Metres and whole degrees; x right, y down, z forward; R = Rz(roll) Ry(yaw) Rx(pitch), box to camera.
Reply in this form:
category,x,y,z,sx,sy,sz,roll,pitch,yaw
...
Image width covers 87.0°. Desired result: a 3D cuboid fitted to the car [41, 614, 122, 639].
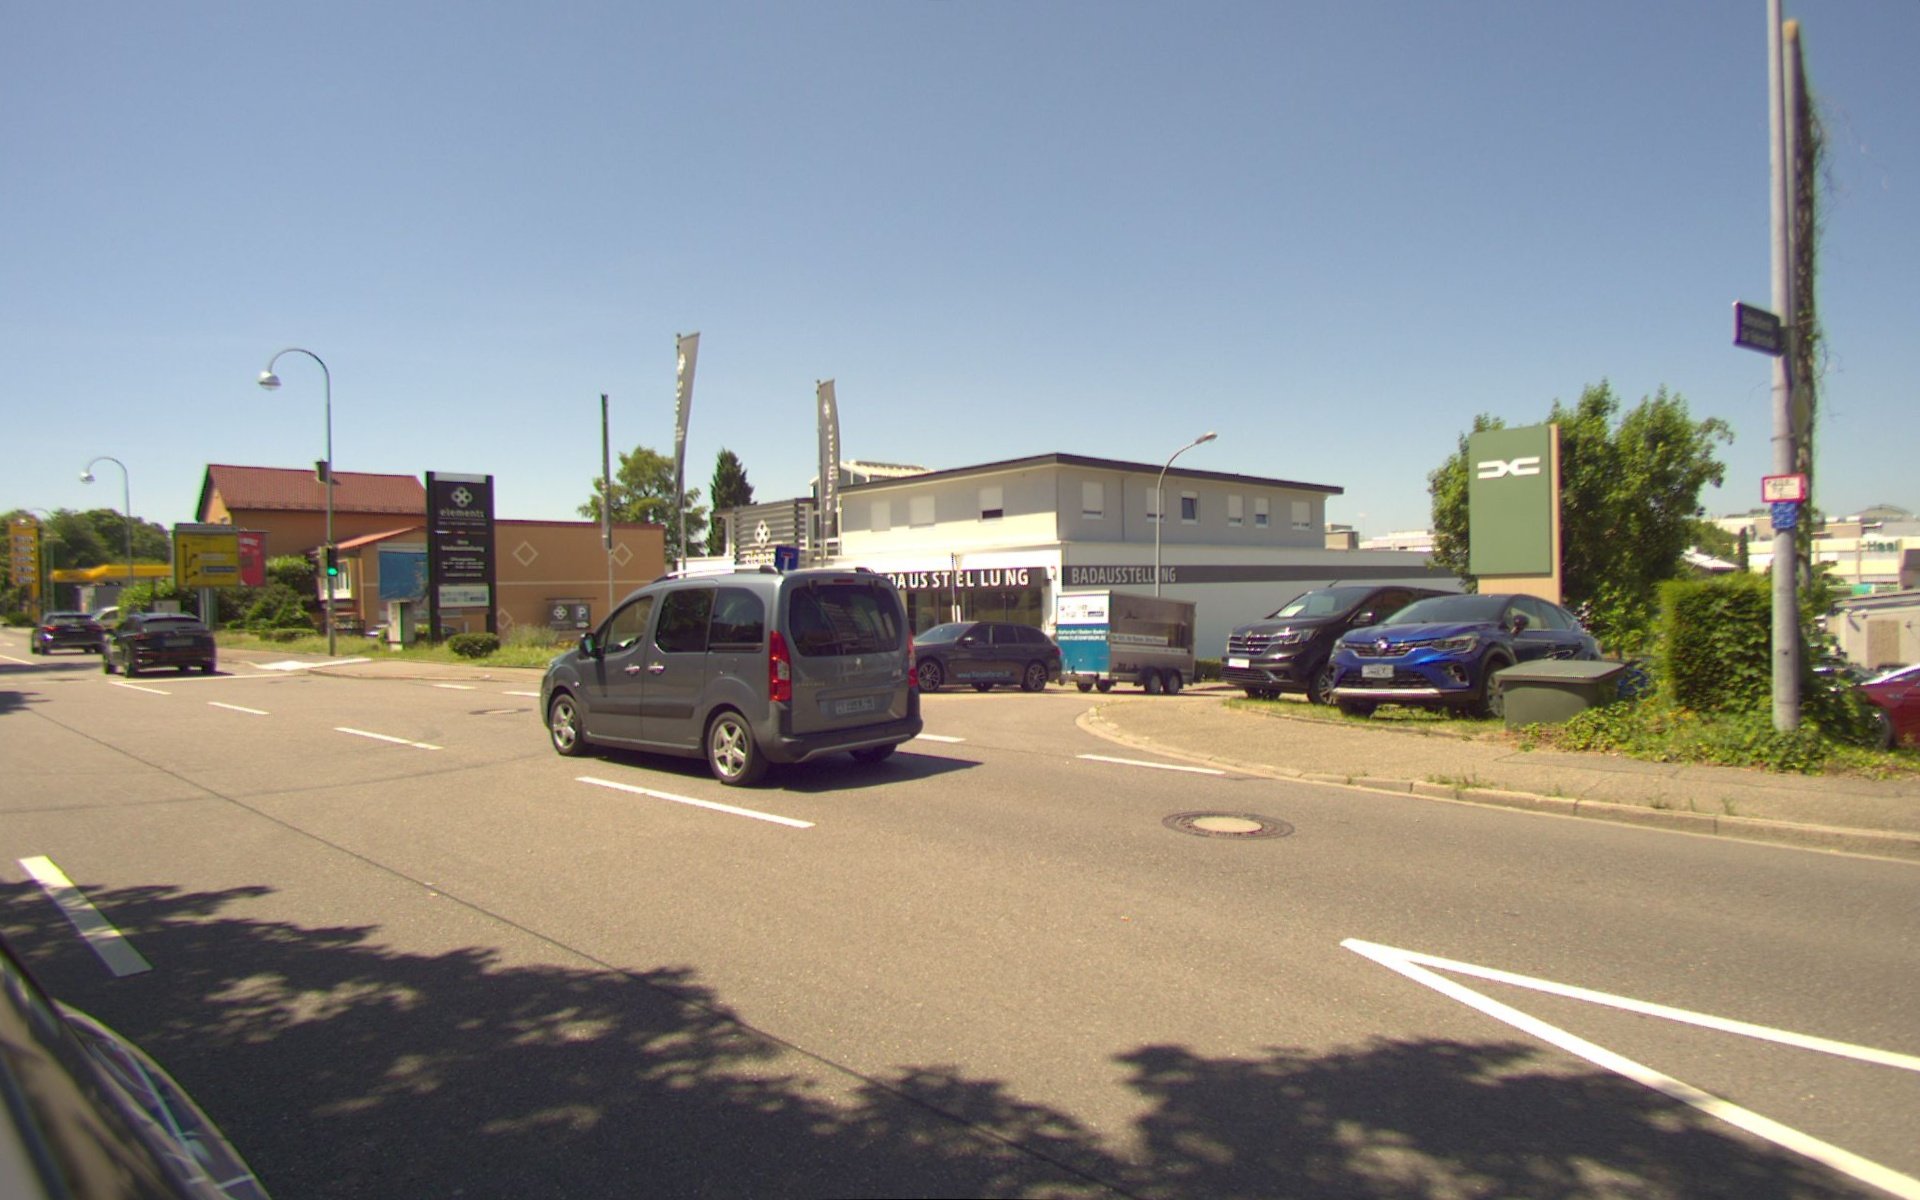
category,x,y,z,sx,sy,sz,roll,pitch,yaw
car,-66.310,2.004,76.424,1.872,1.773,4.348,-1,-1,37

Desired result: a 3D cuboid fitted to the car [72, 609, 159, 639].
category,x,y,z,sx,sy,sz,roll,pitch,yaw
car,-56.013,1.543,67.204,1.872,1.883,4.140,-1,-1,37

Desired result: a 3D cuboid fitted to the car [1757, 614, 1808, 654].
category,x,y,z,sx,sy,sz,roll,pitch,yaw
car,65.509,2.670,80.575,6.249,3.013,2.247,0,-1,-42

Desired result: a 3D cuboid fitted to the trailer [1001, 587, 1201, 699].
category,x,y,z,sx,sy,sz,roll,pitch,yaw
trailer,3.519,1.044,24.347,5.288,2.424,1.942,3,-3,-45

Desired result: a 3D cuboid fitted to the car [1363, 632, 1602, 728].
category,x,y,z,sx,sy,sz,roll,pitch,yaw
car,10.776,1.592,21.157,1.784,1.735,4.101,3,-2,-32

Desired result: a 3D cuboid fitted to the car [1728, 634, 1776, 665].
category,x,y,z,sx,sy,sz,roll,pitch,yaw
car,56.751,3.519,72.511,3.939,2.071,2.086,0,-1,-42

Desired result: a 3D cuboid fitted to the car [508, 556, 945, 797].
category,x,y,z,sx,sy,sz,roll,pitch,yaw
car,-2.421,0.626,9.666,4.569,1.775,1.791,-2,-2,42

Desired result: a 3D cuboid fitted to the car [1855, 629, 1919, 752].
category,x,y,z,sx,sy,sz,roll,pitch,yaw
car,12.352,1.069,10.746,1.651,1.403,4.104,-1,0,-10

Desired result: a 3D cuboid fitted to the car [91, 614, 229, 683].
category,x,y,z,sx,sy,sz,roll,pitch,yaw
car,-19.558,1.138,24.695,4.049,1.518,1.850,-1,-1,40

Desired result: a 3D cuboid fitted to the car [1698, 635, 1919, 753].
category,x,y,z,sx,sy,sz,roll,pitch,yaw
car,14.788,1.500,16.785,4.082,1.734,1.792,-1,0,37

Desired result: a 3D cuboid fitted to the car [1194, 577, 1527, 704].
category,x,y,z,sx,sy,sz,roll,pitch,yaw
car,6.152,0.630,15.709,4.381,1.741,2.069,-1,-5,-18

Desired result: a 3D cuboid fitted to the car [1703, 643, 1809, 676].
category,x,y,z,sx,sy,sz,roll,pitch,yaw
car,40.267,2.990,51.243,1.731,1.497,4.004,0,-1,-43

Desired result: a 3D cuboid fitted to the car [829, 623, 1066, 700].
category,x,y,z,sx,sy,sz,roll,pitch,yaw
car,-0.129,1.233,20.785,4.897,1.398,1.919,3,-3,-45

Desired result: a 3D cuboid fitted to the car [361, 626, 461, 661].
category,x,y,z,sx,sy,sz,roll,pitch,yaw
car,-27.461,2.138,50.693,4.163,1.621,1.774,0,-1,-40

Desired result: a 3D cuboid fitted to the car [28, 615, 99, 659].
category,x,y,z,sx,sy,sz,roll,pitch,yaw
car,-34.057,1.369,38.419,1.903,1.567,4.307,0,-1,-43

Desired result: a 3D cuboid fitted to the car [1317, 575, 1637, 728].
category,x,y,z,sx,sy,sz,roll,pitch,yaw
car,6.210,0.654,12.007,4.081,1.516,1.781,4,-5,-37
